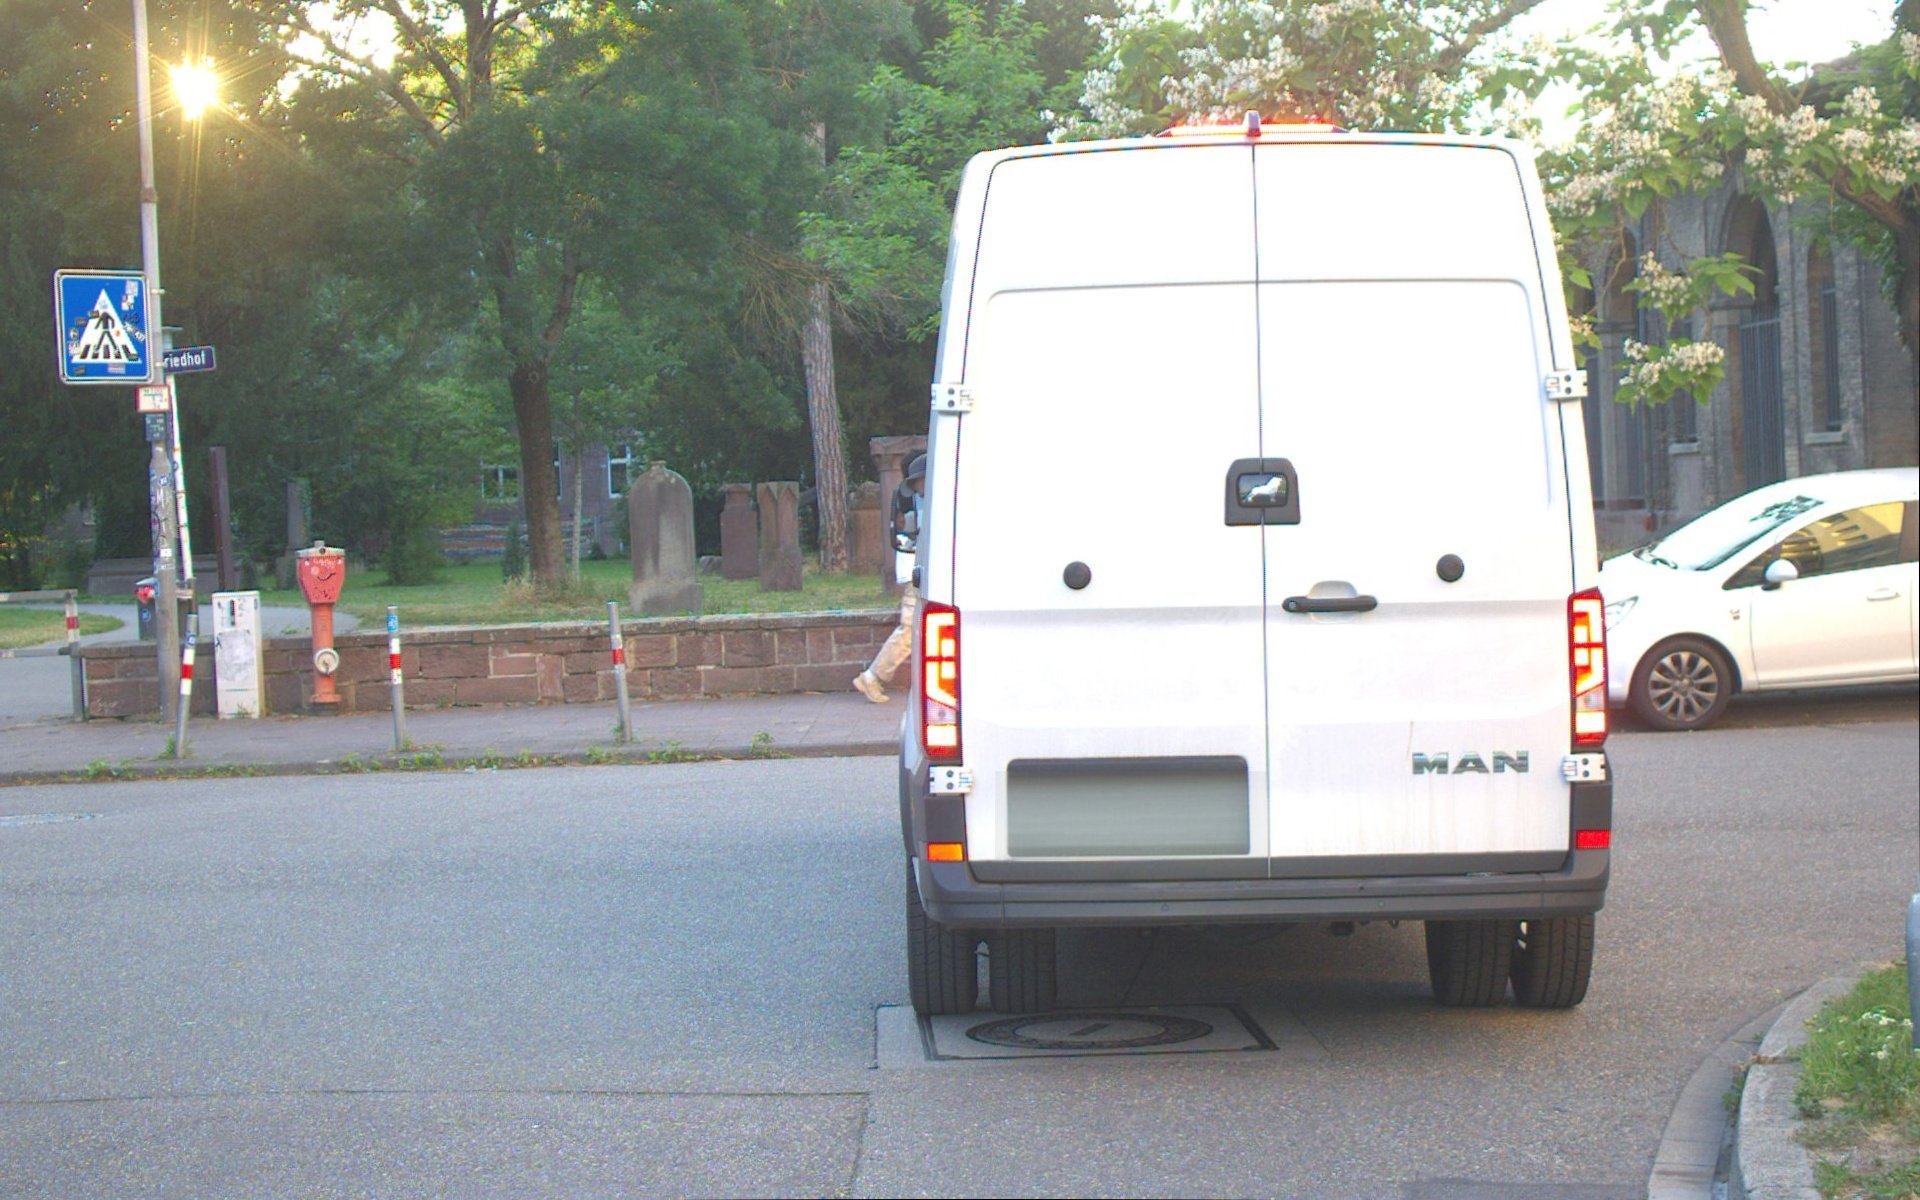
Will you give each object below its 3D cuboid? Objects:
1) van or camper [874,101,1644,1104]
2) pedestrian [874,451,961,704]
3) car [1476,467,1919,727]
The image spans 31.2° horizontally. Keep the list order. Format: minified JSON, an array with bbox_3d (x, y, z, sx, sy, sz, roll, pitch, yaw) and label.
[{"bbox_3d":[0.770,-0.073,12.252,1.993,2.609,6.403,-1,1,0],"label":"van or camper"},{"bbox_3d":[-0.305,-0.168,24.842,0.593,1.803,0.621,-1,1,0],"label":"pedestrian"},{"bbox_3d":[5.512,-0.066,22.543,3.854,1.568,1.958,-2,2,-3],"label":"car"}]
